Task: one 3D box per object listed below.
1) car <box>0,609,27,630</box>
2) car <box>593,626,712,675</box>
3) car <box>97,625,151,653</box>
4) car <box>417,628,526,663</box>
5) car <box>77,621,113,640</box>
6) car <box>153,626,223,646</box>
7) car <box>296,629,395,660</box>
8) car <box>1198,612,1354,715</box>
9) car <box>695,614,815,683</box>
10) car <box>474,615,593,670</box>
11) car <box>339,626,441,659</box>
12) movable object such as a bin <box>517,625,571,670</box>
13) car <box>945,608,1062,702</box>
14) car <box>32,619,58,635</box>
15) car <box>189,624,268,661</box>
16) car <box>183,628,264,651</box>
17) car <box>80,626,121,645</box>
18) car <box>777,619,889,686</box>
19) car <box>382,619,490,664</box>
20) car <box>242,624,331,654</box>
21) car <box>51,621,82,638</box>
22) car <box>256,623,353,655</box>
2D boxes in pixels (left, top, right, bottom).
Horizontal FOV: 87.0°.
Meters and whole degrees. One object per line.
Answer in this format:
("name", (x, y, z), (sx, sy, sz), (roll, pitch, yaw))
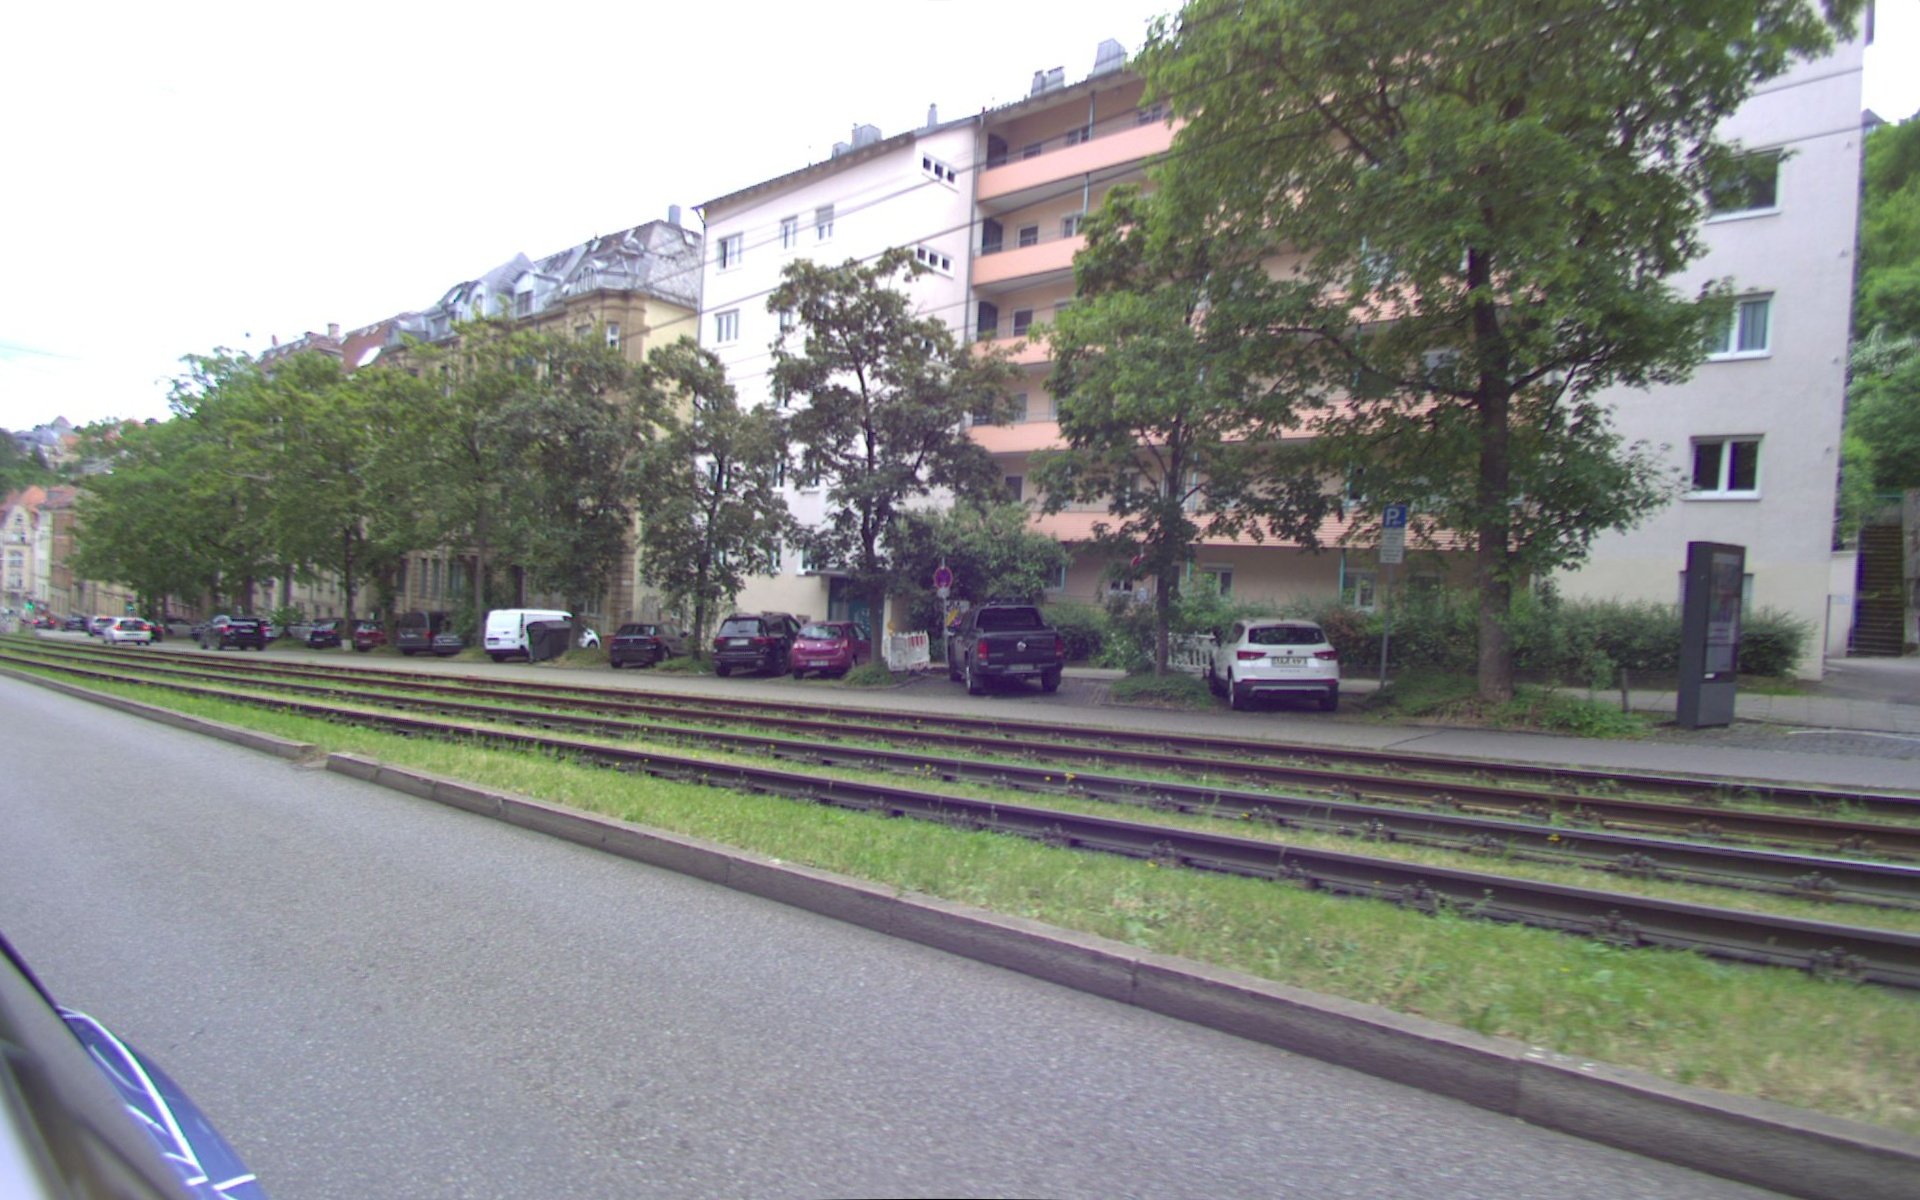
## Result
("car", (-125.790, 2.600, 134.143), (6.517, 2.720, 2.366), (-1, -4, 42))
("car", (-9.712, 1.566, 32.407), (1.913, 1.355, 4.597), (-1, 0, 8))
("car", (-44.301, 2.054, 53.627), (3.410, 1.446, 1.572), (-1, -4, 40))
("car", (-19.601, 1.802, 40.838), (1.852, 1.350, 4.177), (0, -2, 11))
("car", (-76.230, 2.709, 89.154), (4.344, 1.629, 1.761), (-2, -4, 41))
("car", (-57.008, 2.606, 74.841), (1.766, 1.433, 3.988), (0, -1, 9))
("car", (-30.333, 2.169, 50.112), (1.851, 1.446, 4.177), (0, -2, 11))
("car", (5.685, 1.069, 18.819), (1.913, 1.629, 4.598), (-1, 0, 7))
("car", (-5.607, 1.284, 28.342), (1.913, 1.694, 4.597), (-1, 0, 8))
("car", (-15.421, 1.515, 36.856), (1.853, 1.850, 4.172), (0, -2, 14))
("car", (-26.172, 1.926, 46.634), (1.852, 1.446, 4.177), (0, -2, 11))
("movable object such as a bin", (-13.788, 1.559, 33.558), (1.090, 1.411, 1.268), (-1, -1, 25))
("car", (0.832, 1.104, 22.416), (1.906, 1.811, 4.613), (-1, 0, -6))
("car", (-105.022, 3.116, 116.167), (4.471, 1.663, 1.859), (-2, -4, 44))
("car", (-34.109, 1.977, 47.142), (4.604, 1.662, 1.897), (-1, -4, 40))
("car", (-46.958, 2.492, 64.650), (1.694, 1.375, 4.169), (0, -1, 11))
("car", (-66.788, 2.724, 78.599), (4.595, 1.421, 1.706), (-1, -4, 41))
("car", (-3.328, 1.351, 27.465), (1.913, 1.560, 4.597), (-1, 0, 8))
("car", (-21.876, 1.730, 42.446), (1.852, 1.781, 4.177), (0, -2, 11))
("car", (-36.890, 2.131, 55.537), (1.766, 1.480, 4.144), (1, 0, 9))
("car", (-89.049, 2.927, 100.858), (4.241, 1.669, 1.761), (-1, -4, 41))
("car", (-34.068, 2.015, 52.754), (1.852, 1.585, 4.175), (0, -2, 12))
